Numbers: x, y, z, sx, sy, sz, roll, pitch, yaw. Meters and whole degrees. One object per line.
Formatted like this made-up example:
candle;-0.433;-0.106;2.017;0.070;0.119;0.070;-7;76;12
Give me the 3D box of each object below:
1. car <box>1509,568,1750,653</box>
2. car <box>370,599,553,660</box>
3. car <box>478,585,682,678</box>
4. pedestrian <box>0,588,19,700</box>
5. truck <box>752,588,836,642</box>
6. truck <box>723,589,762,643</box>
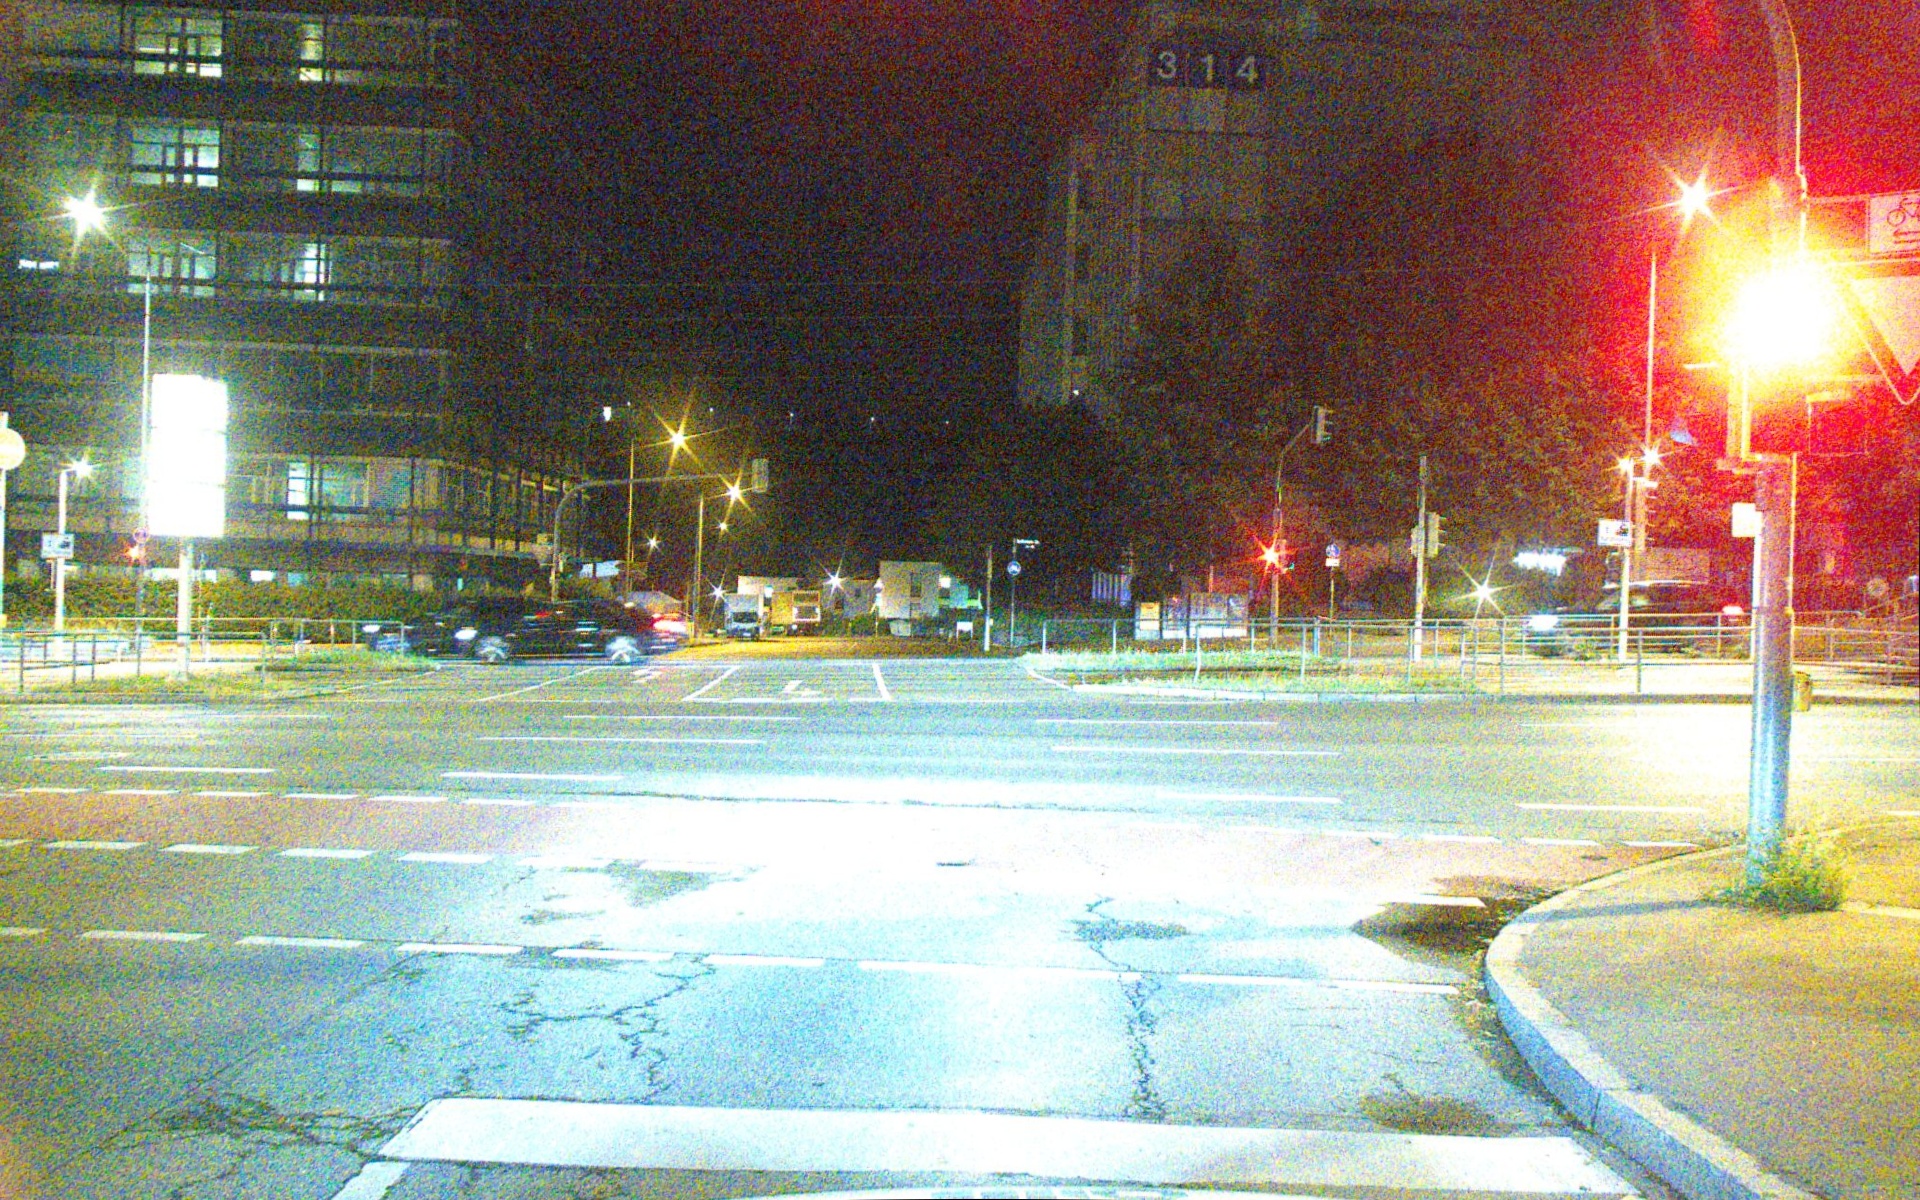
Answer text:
car;14.731;0.229;36.600;4.521;1.759;2.001;1;0;3
car;-12.274;0.728;40.903;3.905;1.411;1.865;1;-1;-1
car;-8.605;0.700;37.694;4.095;2.009;2.000;1;0;2
pedestrian;-14.636;0.649;24.709;0.656;1.663;0.862;2;-1;-5
truck;-15.286;1.299;150.978;4.751;4.627;12.593;1;0;-19
truck;-15.656;1.135;119.016;2.535;3.772;5.724;1;0;-9
